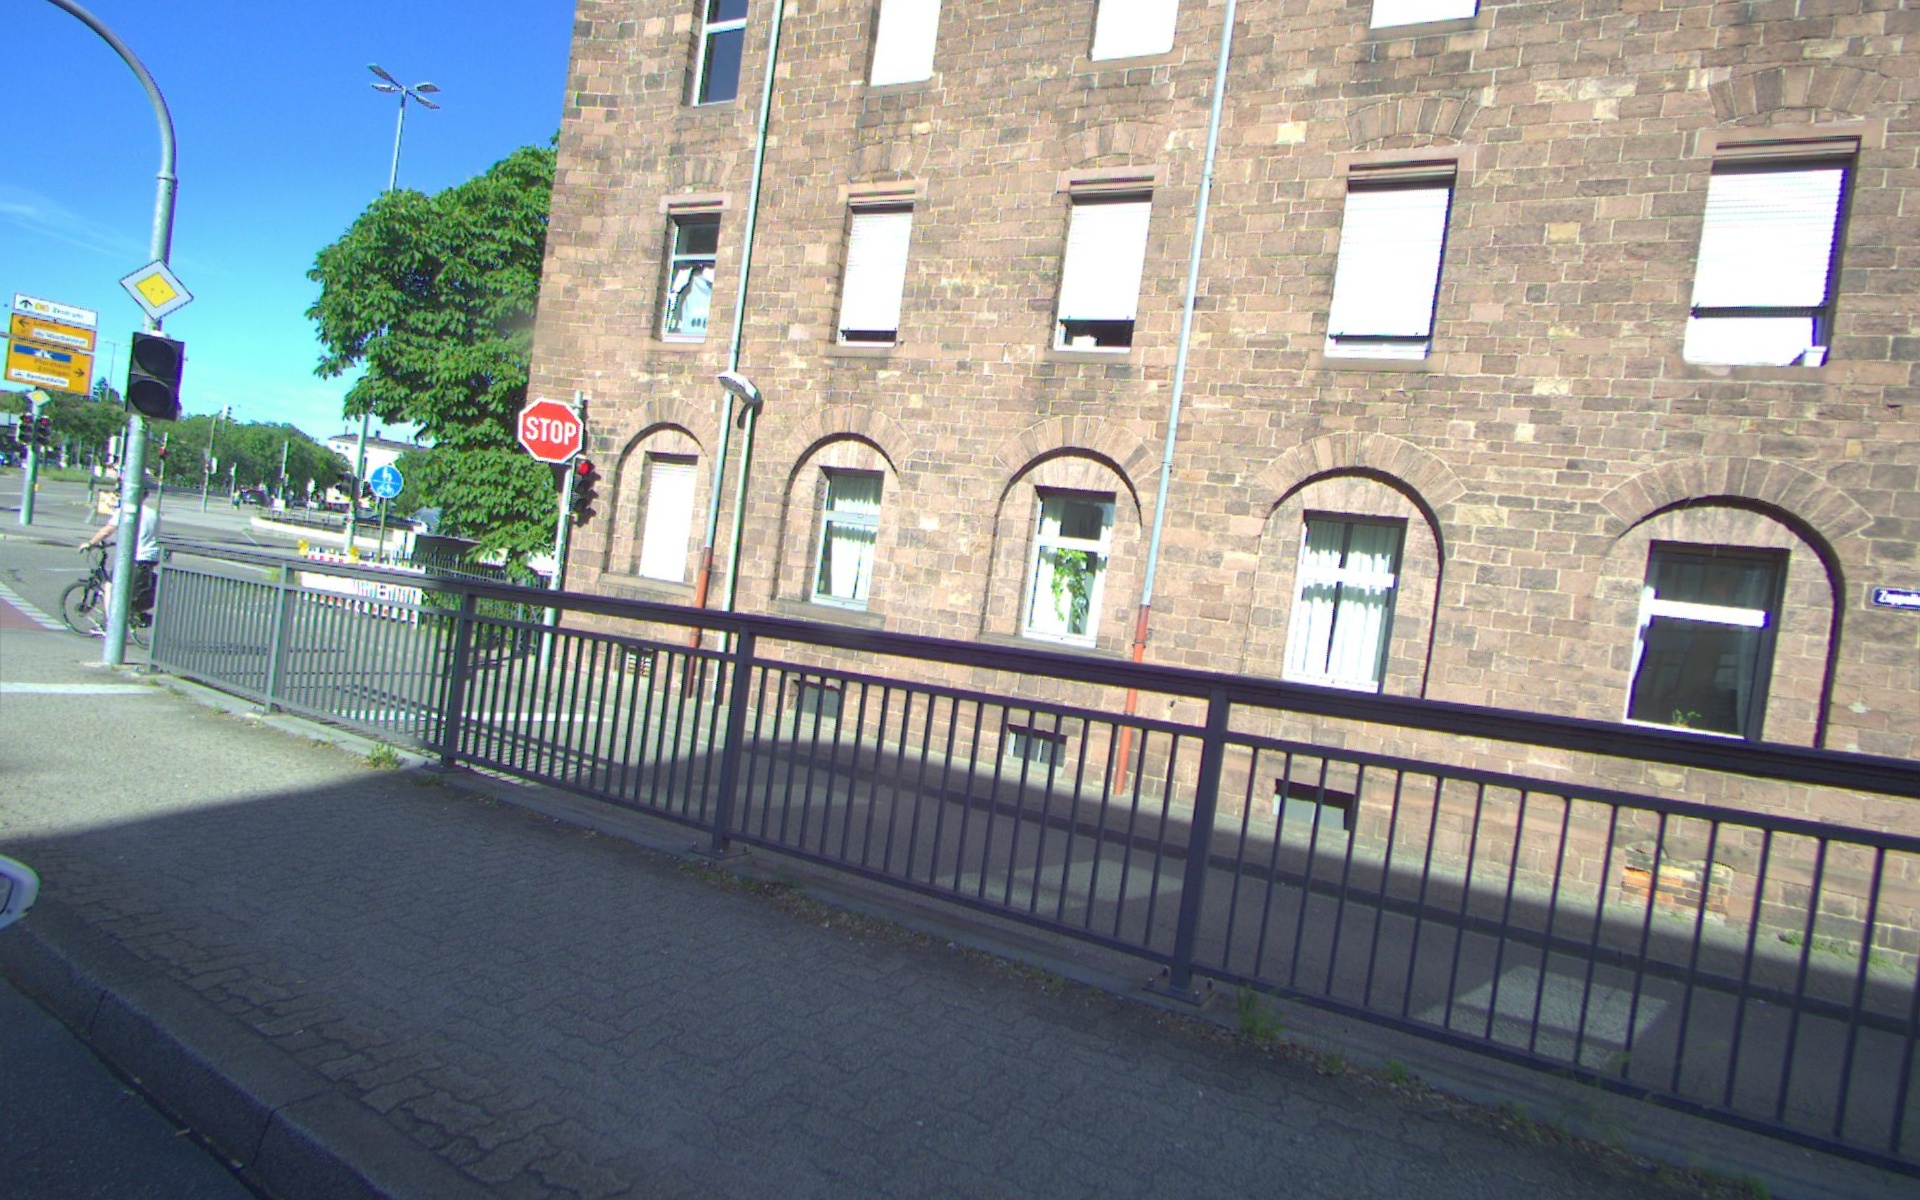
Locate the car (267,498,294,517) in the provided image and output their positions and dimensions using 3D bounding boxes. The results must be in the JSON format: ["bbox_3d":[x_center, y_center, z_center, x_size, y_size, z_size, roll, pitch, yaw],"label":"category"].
[{"bbox_3d":[-80.109,-10.925,118.681,1.976,1.816,3.972,7,1,-27],"label":"car"}]

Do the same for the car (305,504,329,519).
[{"bbox_3d":[-87.543,-12.083,137.074,1.974,1.660,3.976,7,1,-23],"label":"car"}]

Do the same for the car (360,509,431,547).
[{"bbox_3d":[-41.220,-5.220,73.503,3.938,2.037,1.995,8,-2,-14],"label":"car"}]

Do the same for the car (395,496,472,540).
[{"bbox_3d":[-42.465,-6.601,81.228,4.796,2.637,2.263,7,-1,0],"label":"car"}]

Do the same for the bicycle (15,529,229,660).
[{"bbox_3d":[-9.556,-0.069,11.461,2.358,1.124,0.802,9,0,24],"label":"bicycle"}]

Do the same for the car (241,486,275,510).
[{"bbox_3d":[-70.924,-10.314,101.675,1.975,1.814,3.978,8,-2,-24],"label":"car"}]

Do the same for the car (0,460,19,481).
[{"bbox_3d":[-76.914,-10.448,80.289,1.983,1.471,3.961,8,0,-35],"label":"car"}]

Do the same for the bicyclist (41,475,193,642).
[{"bbox_3d":[-9.673,-0.468,11.551,1.066,1.724,0.802,7,-1,26],"label":"bicyclist"}]
